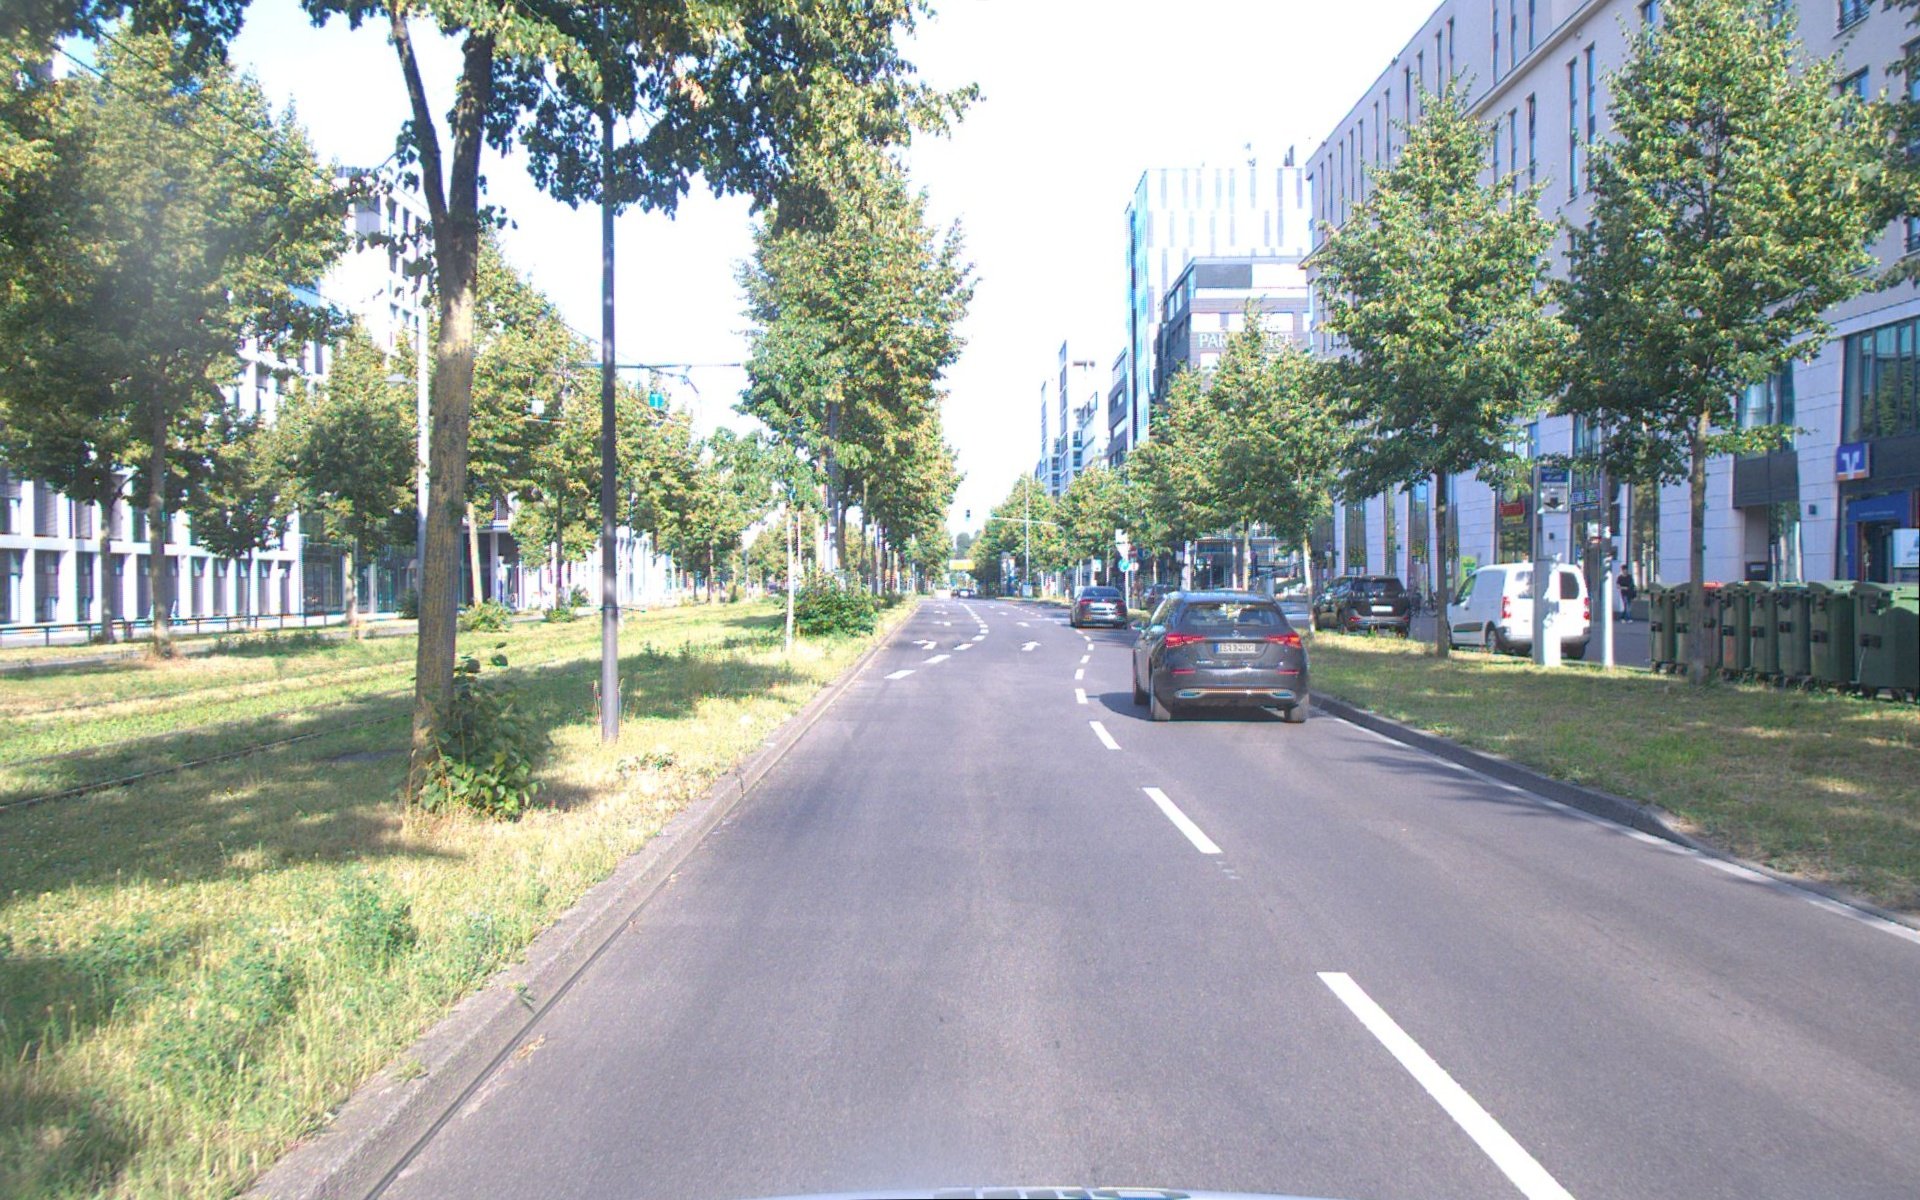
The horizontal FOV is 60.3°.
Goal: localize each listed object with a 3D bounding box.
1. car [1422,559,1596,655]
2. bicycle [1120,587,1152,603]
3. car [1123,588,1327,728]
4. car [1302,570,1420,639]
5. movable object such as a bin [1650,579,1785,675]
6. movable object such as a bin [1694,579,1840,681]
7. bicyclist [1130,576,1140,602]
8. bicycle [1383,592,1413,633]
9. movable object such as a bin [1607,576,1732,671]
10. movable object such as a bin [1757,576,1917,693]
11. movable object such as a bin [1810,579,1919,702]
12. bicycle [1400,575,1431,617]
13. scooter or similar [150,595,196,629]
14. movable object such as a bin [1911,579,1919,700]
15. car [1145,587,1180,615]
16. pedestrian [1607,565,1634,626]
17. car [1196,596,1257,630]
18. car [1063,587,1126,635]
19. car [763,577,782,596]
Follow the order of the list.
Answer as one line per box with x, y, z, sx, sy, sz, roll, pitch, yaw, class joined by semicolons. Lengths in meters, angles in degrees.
10.771;0.135;32.773;1.791;1.741;4.293;1;0;-3;car
12.060;-0.315;113.381;2.092;1.030;0.571;1;0;-5;bicycle
3.011;0.618;19.567;1.738;1.449;3.960;1;0;0;car
10.806;0.068;44.904;1.859;1.738;4.676;1;1;-2;car
10.340;0.361;22.622;1.252;1.258;1.190;1;0;-4;movable object such as a bin
10.403;0.381;21.371;1.252;1.258;1.190;1;0;-4;movable object such as a bin
12.025;-0.760;113.385;0.563;1.736;0.540;1;0;-5;bicyclist
17.574;0.514;66.389;0.544;1.598;2.276;1;0;0;bicycle
10.261;0.338;23.965;1.252;1.314;1.177;1;0;-4;movable object such as a bin
10.564;0.405;19.978;1.252;1.341;1.190;1;0;-4;movable object such as a bin
10.530;0.451;18.626;1.252;1.325;1.190;1;0;-4;movable object such as a bin
17.554;-0.141;63.770;0.544;1.594;2.212;1;0;0;bicycle
-36.050;0.536;75.746;1.888;1.502;0.415;1;0;3;scooter or similar
10.703;0.421;17.118;1.371;1.258;1.334;1;0;26;movable object such as a bin
10.620;0.066;86.908;1.573;1.394;4.159;1;0;4;car
19.800;-0.135;49.589;0.526;1.793;0.646;1;0;-1;pedestrian
10.512;0.506;65.561;1.673;1.264;3.904;1;0;-2;car
4.643;0.369;57.387;1.822;1.551;3.785;1;0;0;car
-18.210;-1.299;160.857;1.651;1.806;3.879;1;0;-4;car
